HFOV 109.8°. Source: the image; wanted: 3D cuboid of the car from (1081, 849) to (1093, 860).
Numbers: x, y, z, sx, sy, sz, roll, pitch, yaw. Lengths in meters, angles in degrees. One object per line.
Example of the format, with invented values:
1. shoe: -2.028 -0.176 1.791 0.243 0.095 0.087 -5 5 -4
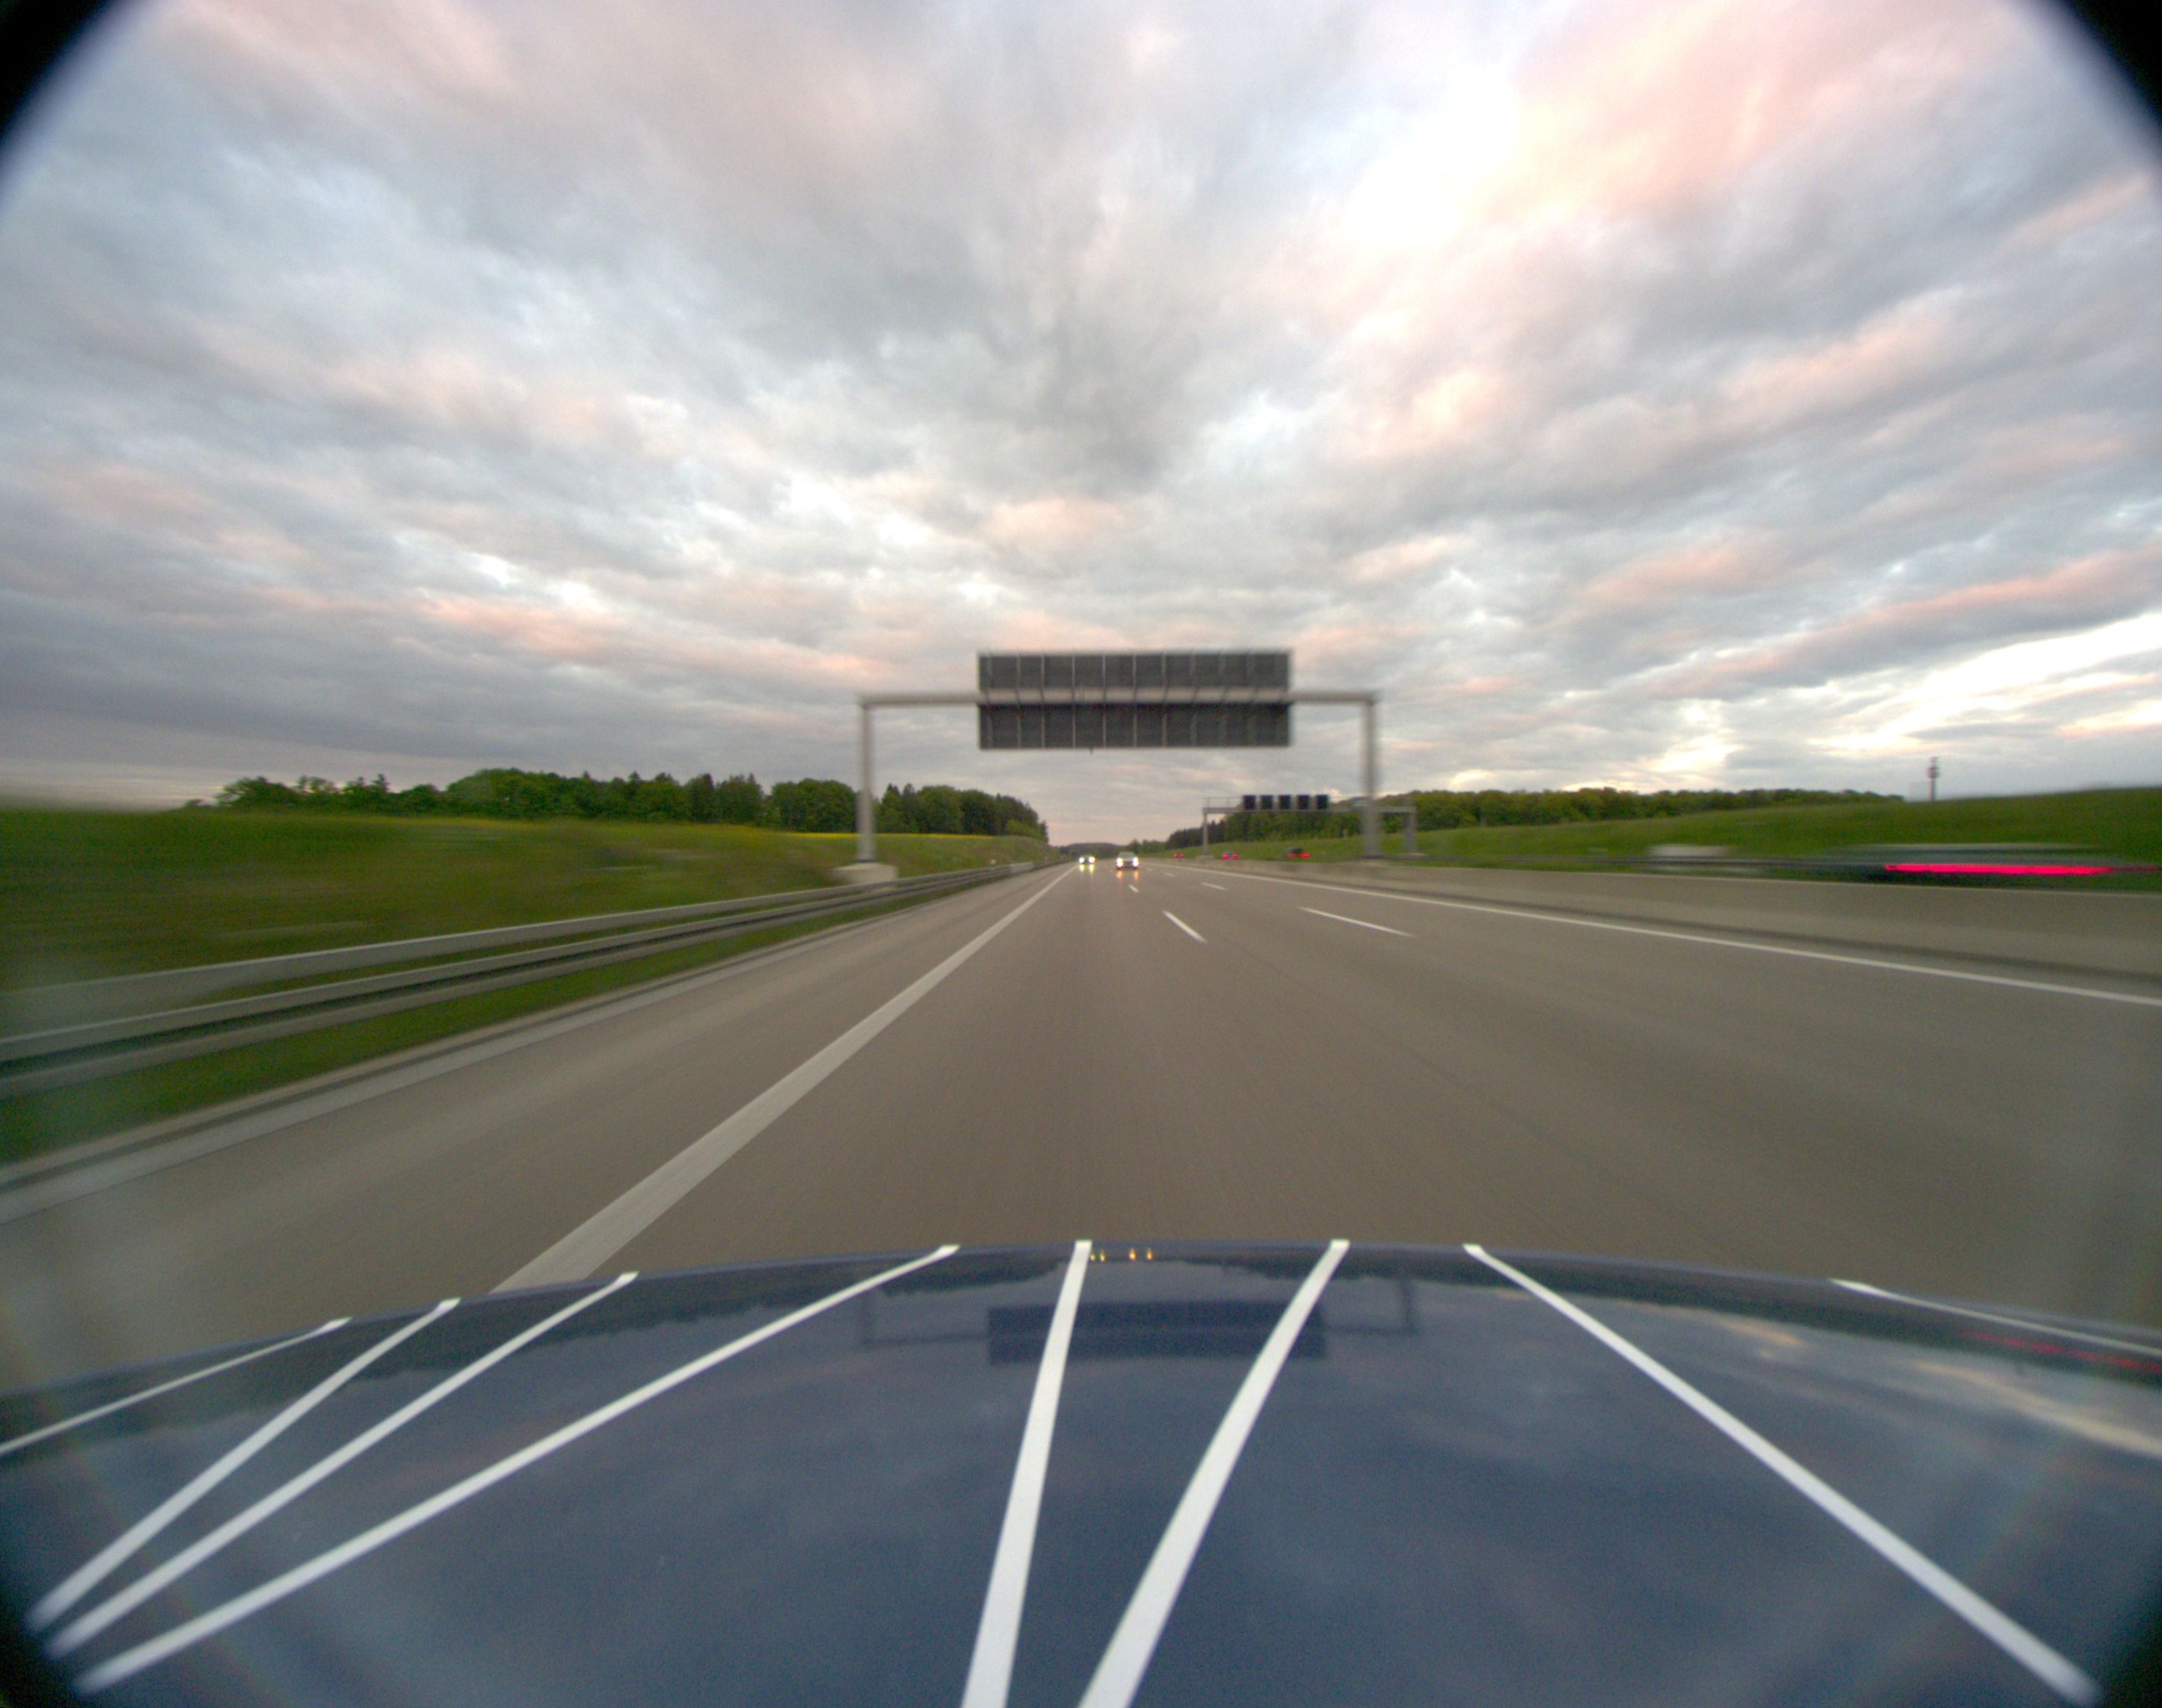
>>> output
1. car: 0.987 0.090 122.592 1.801 1.674 4.384 -1 1 1

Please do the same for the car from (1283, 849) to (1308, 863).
1. car: 24.513 0.247 86.931 1.818 1.450 4.000 -2 0 1

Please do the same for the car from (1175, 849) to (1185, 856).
1. car: 26.149 -0.362 201.154 1.998 1.817 5.088 -1 0 0

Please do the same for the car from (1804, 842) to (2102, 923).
1. car: 19.251 0.551 17.152 1.758 1.543 4.360 -2 0 1

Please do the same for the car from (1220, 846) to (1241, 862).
1. car: 20.613 -0.020 104.810 1.998 2.002 4.903 -2 0 1

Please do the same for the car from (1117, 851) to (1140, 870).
1. car: 4.462 0.563 72.491 1.857 1.683 5.511 -1 1 1
